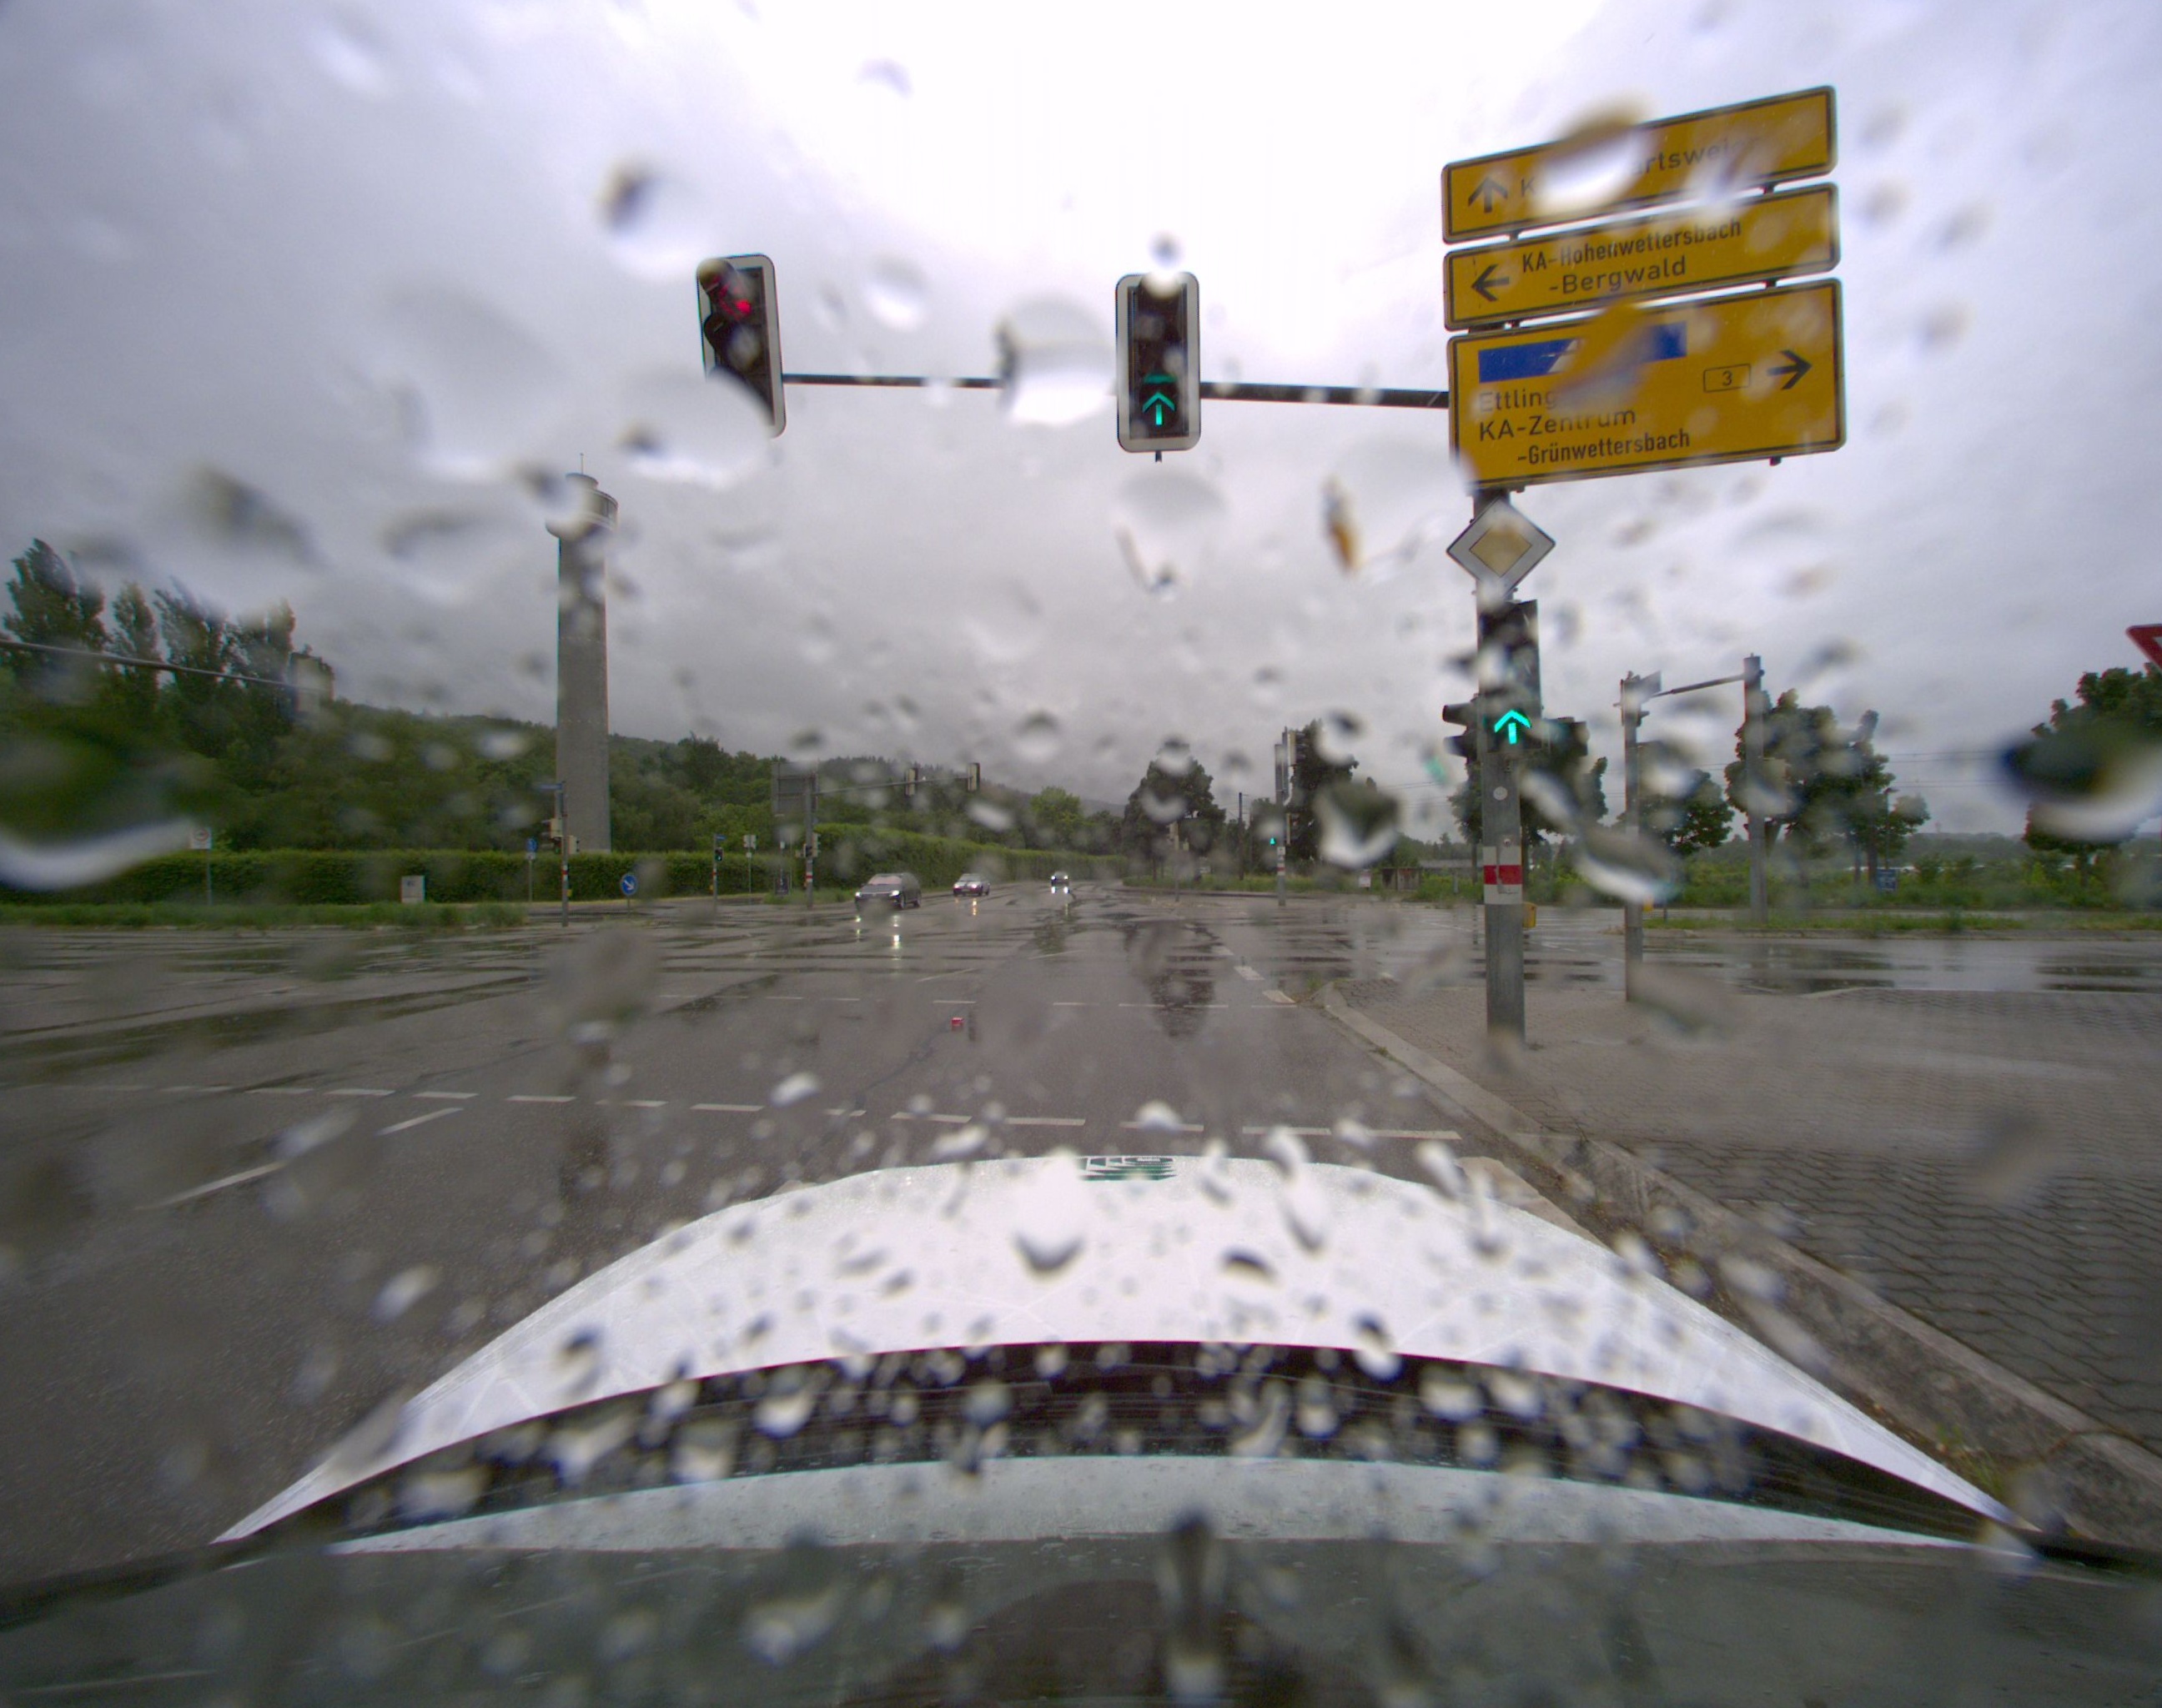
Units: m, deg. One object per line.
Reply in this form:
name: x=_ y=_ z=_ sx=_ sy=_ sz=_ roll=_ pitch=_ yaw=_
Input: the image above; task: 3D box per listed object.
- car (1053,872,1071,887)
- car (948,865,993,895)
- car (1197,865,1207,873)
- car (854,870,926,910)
car: x=-1.998 y=2.646 z=85.293 sx=1.779 sy=1.505 sz=4.060 roll=0 pitch=0 yaw=0
car: x=-6.757 y=1.539 z=50.170 sx=2.029 sy=1.708 sz=4.067 roll=-1 pitch=0 yaw=2
car: x=31.775 y=3.894 z=213.616 sx=1.939 sy=1.904 sz=4.137 roll=-1 pitch=-1 yaw=15
car: x=-7.732 y=1.429 z=33.341 sx=1.702 sy=1.466 sz=4.455 roll=-1 pitch=-1 yaw=2
